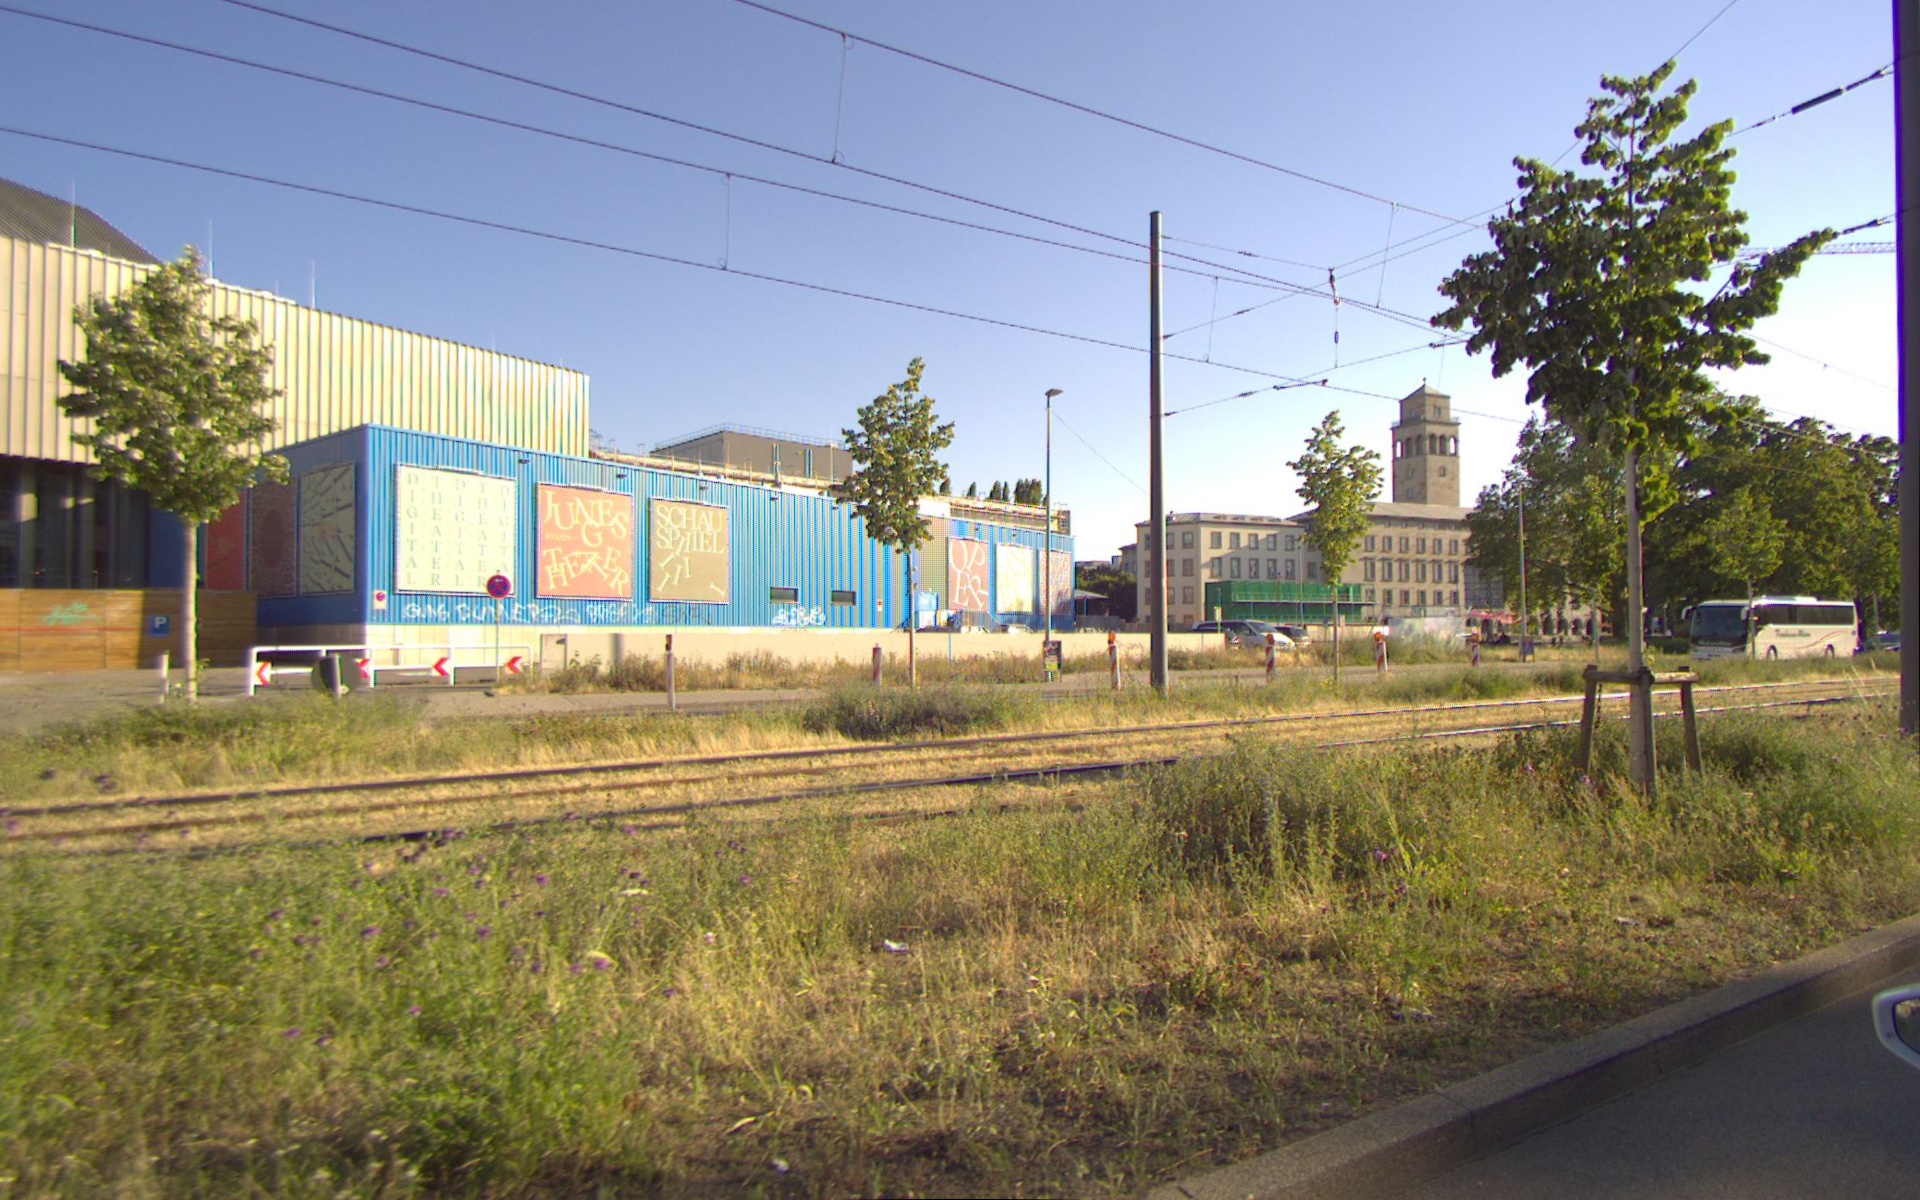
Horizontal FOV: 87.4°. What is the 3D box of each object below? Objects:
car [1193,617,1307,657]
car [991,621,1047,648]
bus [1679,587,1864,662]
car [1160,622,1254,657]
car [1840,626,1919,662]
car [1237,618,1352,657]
[{"bbox_3d":[13.344,1.695,46.594,2.098,1.739,5.206,1,-2,-28],"label":"car"},{"bbox_3d":[3.714,2.132,62.475,1.390,1.657,4.208,-1,-2,37],"label":"car"},{"bbox_3d":[42.910,1.266,52.932,12.536,3.642,2.789,1,-1,-28],"label":"bus"},{"bbox_3d":[11.134,1.780,45.519,1.975,1.504,3.971,1,-2,-28],"label":"car"},{"bbox_3d":[44.636,2.096,48.438,4.218,1.672,1.985,1,-2,-29],"label":"car"},{"bbox_3d":[15.805,1.779,47.805,2.098,1.739,5.206,1,-2,-28],"label":"car"}]
